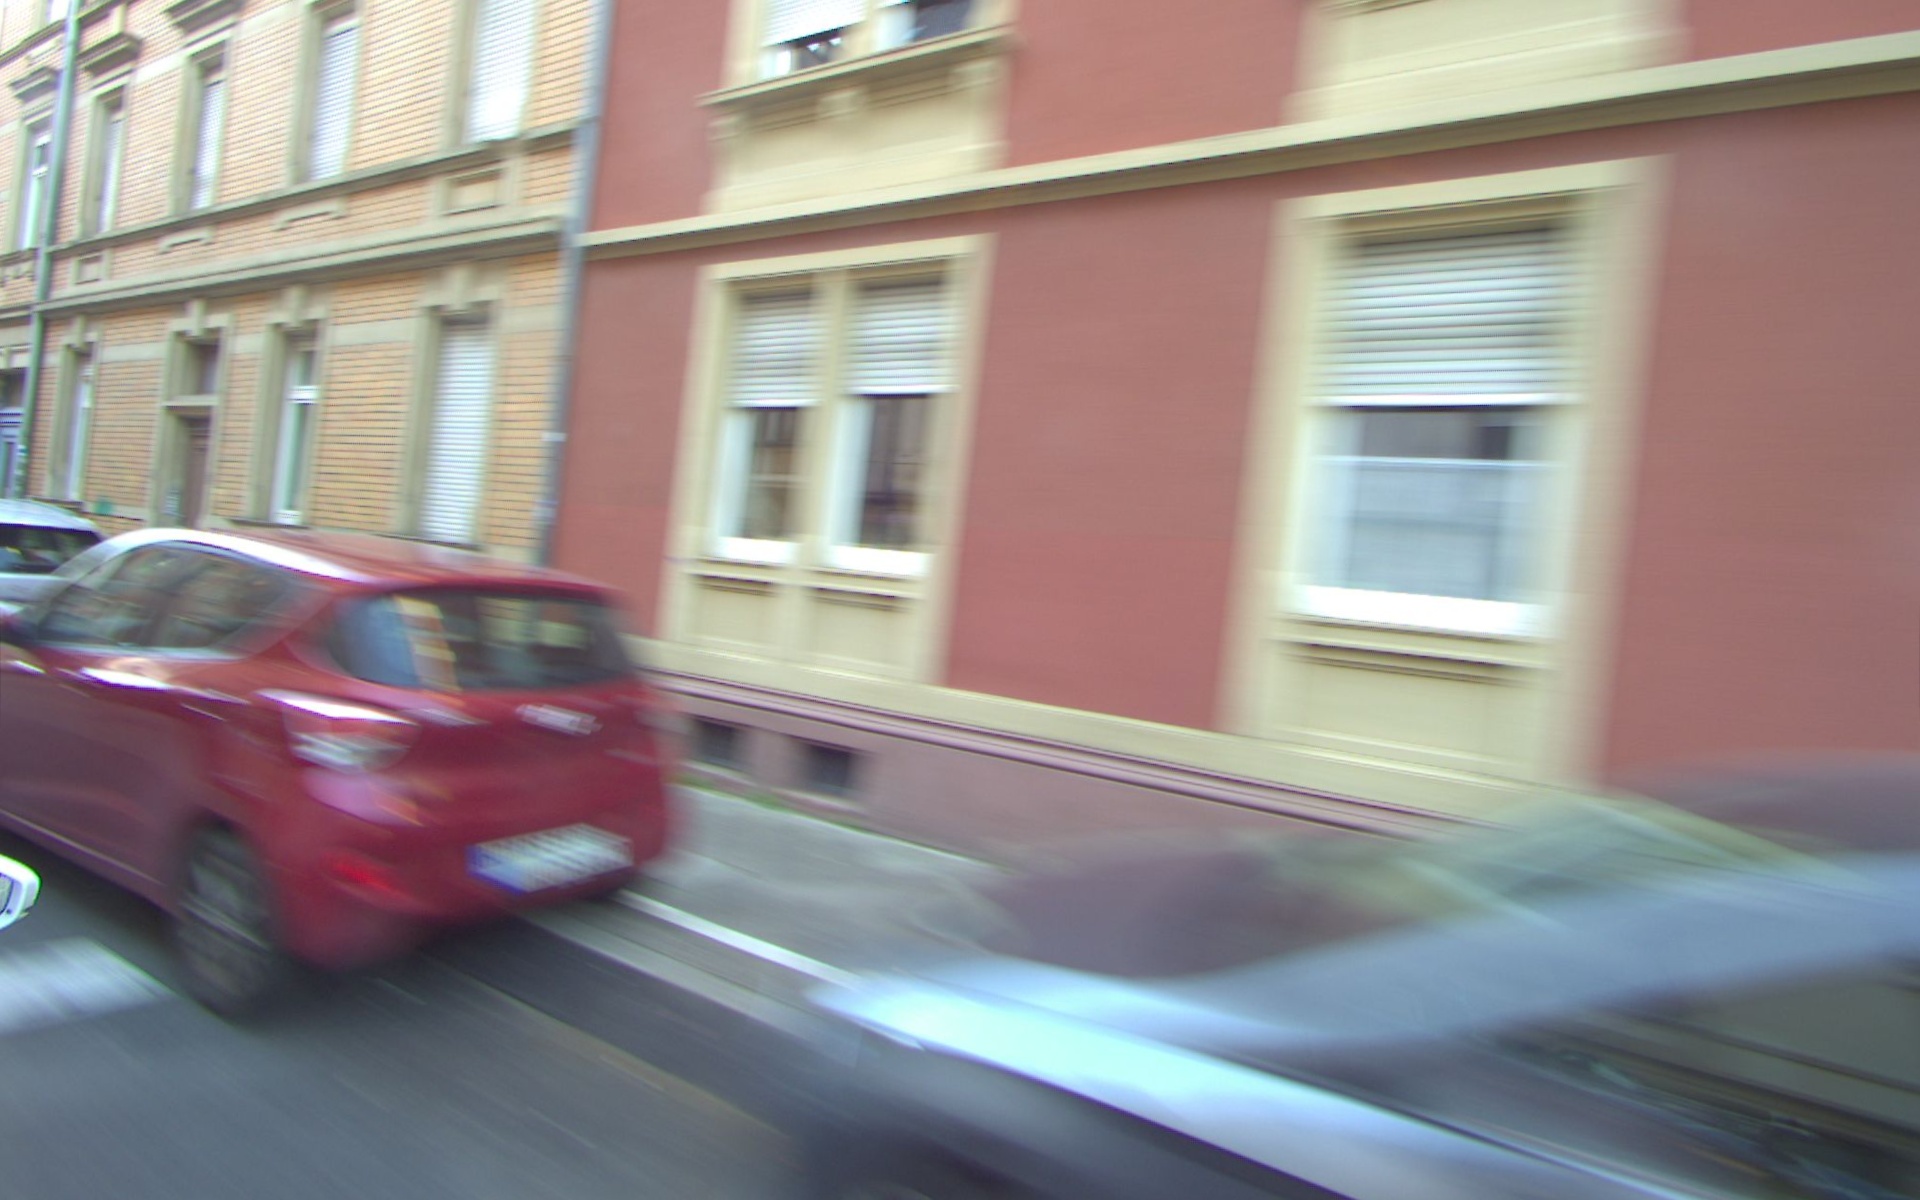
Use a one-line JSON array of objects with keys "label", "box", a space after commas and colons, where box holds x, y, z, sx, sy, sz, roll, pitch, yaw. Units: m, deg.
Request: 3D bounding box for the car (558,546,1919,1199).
[{"label": "car", "box": [1.362, 0.908, 1.682, 4.002, 1.522, 1.678, 7, 0, 32]}]

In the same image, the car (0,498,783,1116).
[{"label": "car", "box": [-2.907, 0.467, 4.340, 3.956, 1.498, 1.661, 7, 0, 29]}]

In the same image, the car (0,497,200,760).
[{"label": "car", "box": [-7.312, -0.027, 6.986, 4.329, 1.502, 1.764, 7, 0, 32]}]
